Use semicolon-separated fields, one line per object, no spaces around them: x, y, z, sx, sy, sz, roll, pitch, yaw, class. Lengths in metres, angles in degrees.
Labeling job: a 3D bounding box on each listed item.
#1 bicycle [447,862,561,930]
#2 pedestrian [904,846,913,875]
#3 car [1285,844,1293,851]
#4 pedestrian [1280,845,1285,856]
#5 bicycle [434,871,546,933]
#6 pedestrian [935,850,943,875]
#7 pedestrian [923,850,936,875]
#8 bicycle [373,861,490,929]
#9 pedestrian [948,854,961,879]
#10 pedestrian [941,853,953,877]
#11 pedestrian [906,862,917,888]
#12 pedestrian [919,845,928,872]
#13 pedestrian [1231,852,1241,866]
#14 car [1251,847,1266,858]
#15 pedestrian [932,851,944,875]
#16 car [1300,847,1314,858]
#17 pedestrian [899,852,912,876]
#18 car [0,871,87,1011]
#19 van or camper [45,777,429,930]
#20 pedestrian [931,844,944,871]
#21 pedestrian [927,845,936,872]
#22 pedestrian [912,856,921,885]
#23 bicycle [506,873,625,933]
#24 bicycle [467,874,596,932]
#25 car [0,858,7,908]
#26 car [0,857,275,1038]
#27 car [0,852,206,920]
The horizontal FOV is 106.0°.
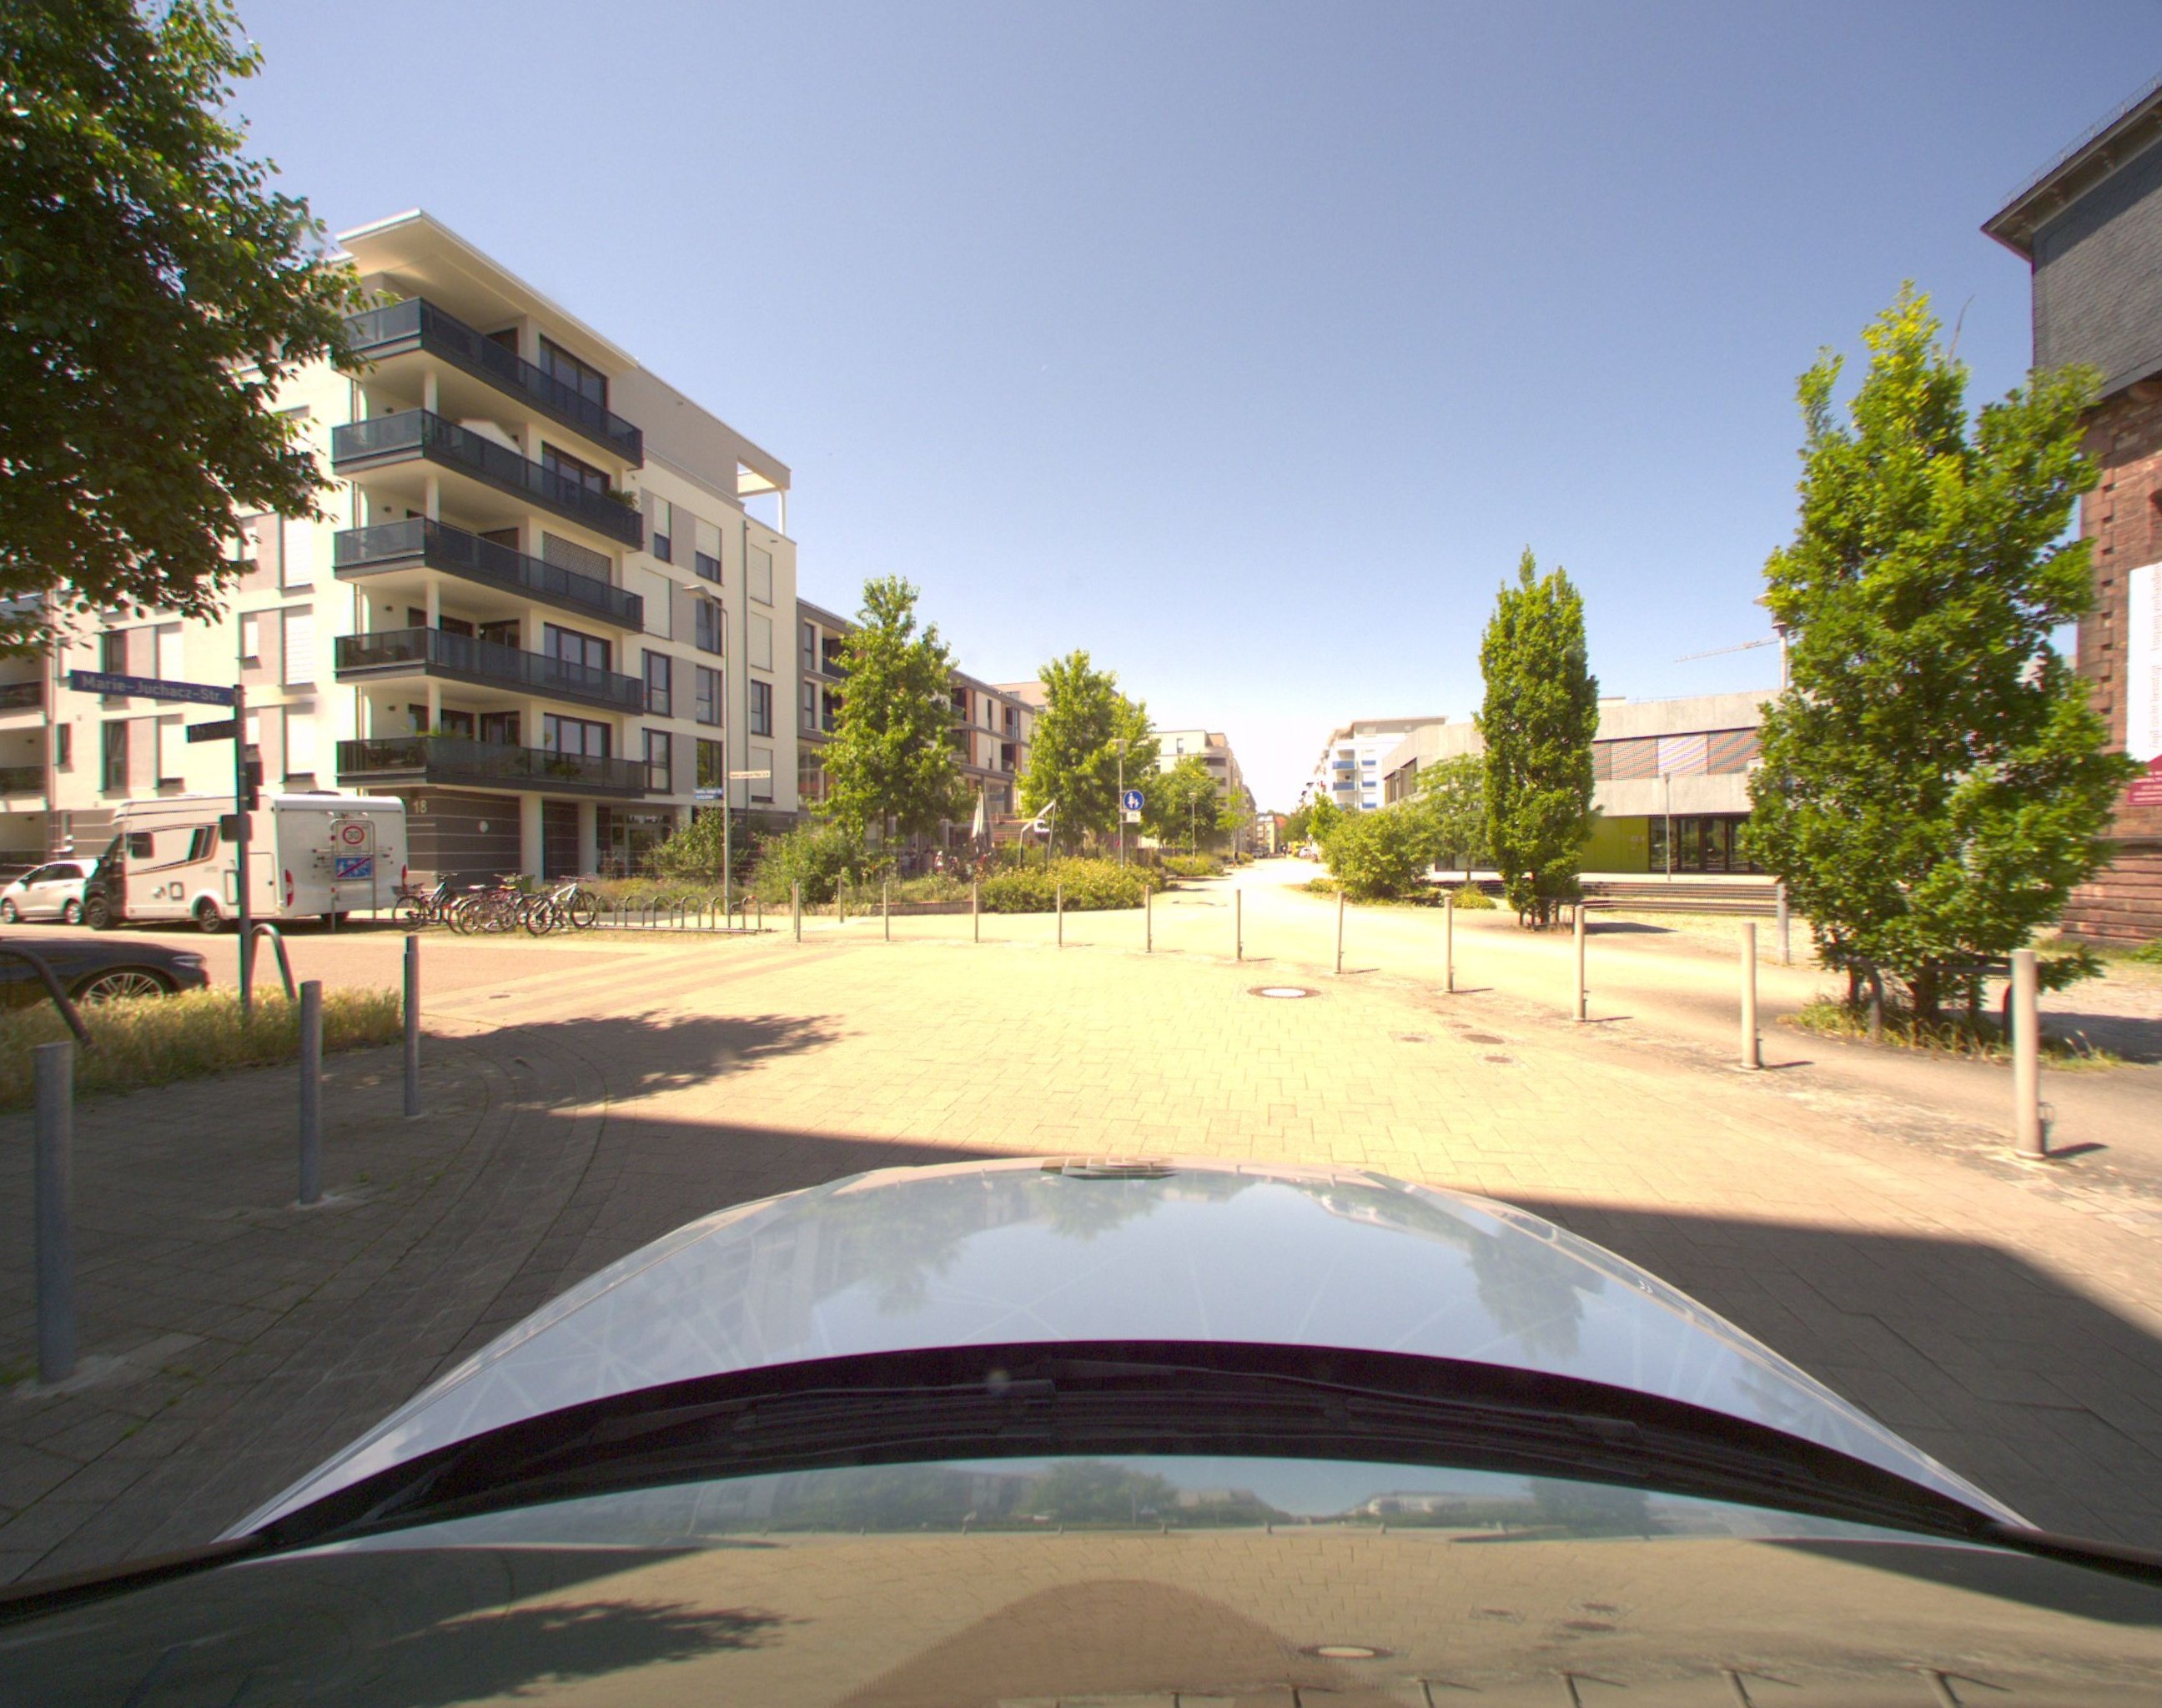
-11.516;0.805;16.334;0.549;1.222;1.865;0;1;19;bicycle
-9.967;0.368;47.027;0.334;1.690;0.464;0;-1;10;pedestrian
54.763;-1.676;213.970;1.979;2.013;4.015;0;0;13;car
28.661;-0.514;115.741;0.689;1.529;0.601;0;0;16;pedestrian
-11.873;0.934;16.441;0.470;1.110;1.899;0;1;19;bicycle
-6.145;0.361;35.319;0.320;1.053;0.290;0;0;-5;pedestrian
-6.276;0.345;33.807;0.414;1.025;0.311;1;-2;-40;pedestrian
-13.440;0.817;16.942;0.821;1.222;1.923;0;2;2;bicycle
-4.963;0.479;31.989;0.383;0.971;0.292;0;-1;29;pedestrian
-5.571;0.457;33.932;0.394;1.026;0.413;0;-1;7;pedestrian
-9.988;1.226;48.008;0.465;1.508;0.392;1;-1;-39;pedestrian
-8.684;0.246;44.997;0.397;1.508;0.459;1;-1;-24;pedestrian
14.365;0.464;75.511;0.841;1.348;0.698;0;0;14;pedestrian
28.468;-0.205;130.783;2.130;1.652;4.104;0;0;15;car
-6.016;0.370;34.254;0.414;1.025;0.311;1;-2;-40;pedestrian
33.536;-0.157;120.642;1.978;1.609;4.016;0;0;16;car
-7.091;0.401;32.837;0.367;0.986;0.413;0;-1;11;pedestrian
-12.612;0.861;6.954;1.808;1.449;4.853;-1;-2;16;car
-18.382;0.054;17.756;7.741;2.906;2.457;-1;-1;16;van or camper
-5.632;0.134;31.959;0.414;1.025;0.279;1;-2;-40;pedestrian
-8.262;0.255;45.115;0.397;1.508;0.459;1;-1;-24;pedestrian
-9.513;0.942;47.144;0.393;1.690;0.464;0;-1;10;pedestrian
-9.999;0.922;15.909;0.868;1.003;2.037;0;1;6;bicycle
-10.896;0.937;16.212;0.933;0.975;1.871;0;2;30;bicycle
-32.665;0.835;22.760;4.376;1.416;1.860;-1;0;18;car
-10.073;0.795;6.318;1.907;1.485;5.137;-1;0;16;car
-24.181;0.738;20.030;4.215;1.504;1.821;0;2;15;car
